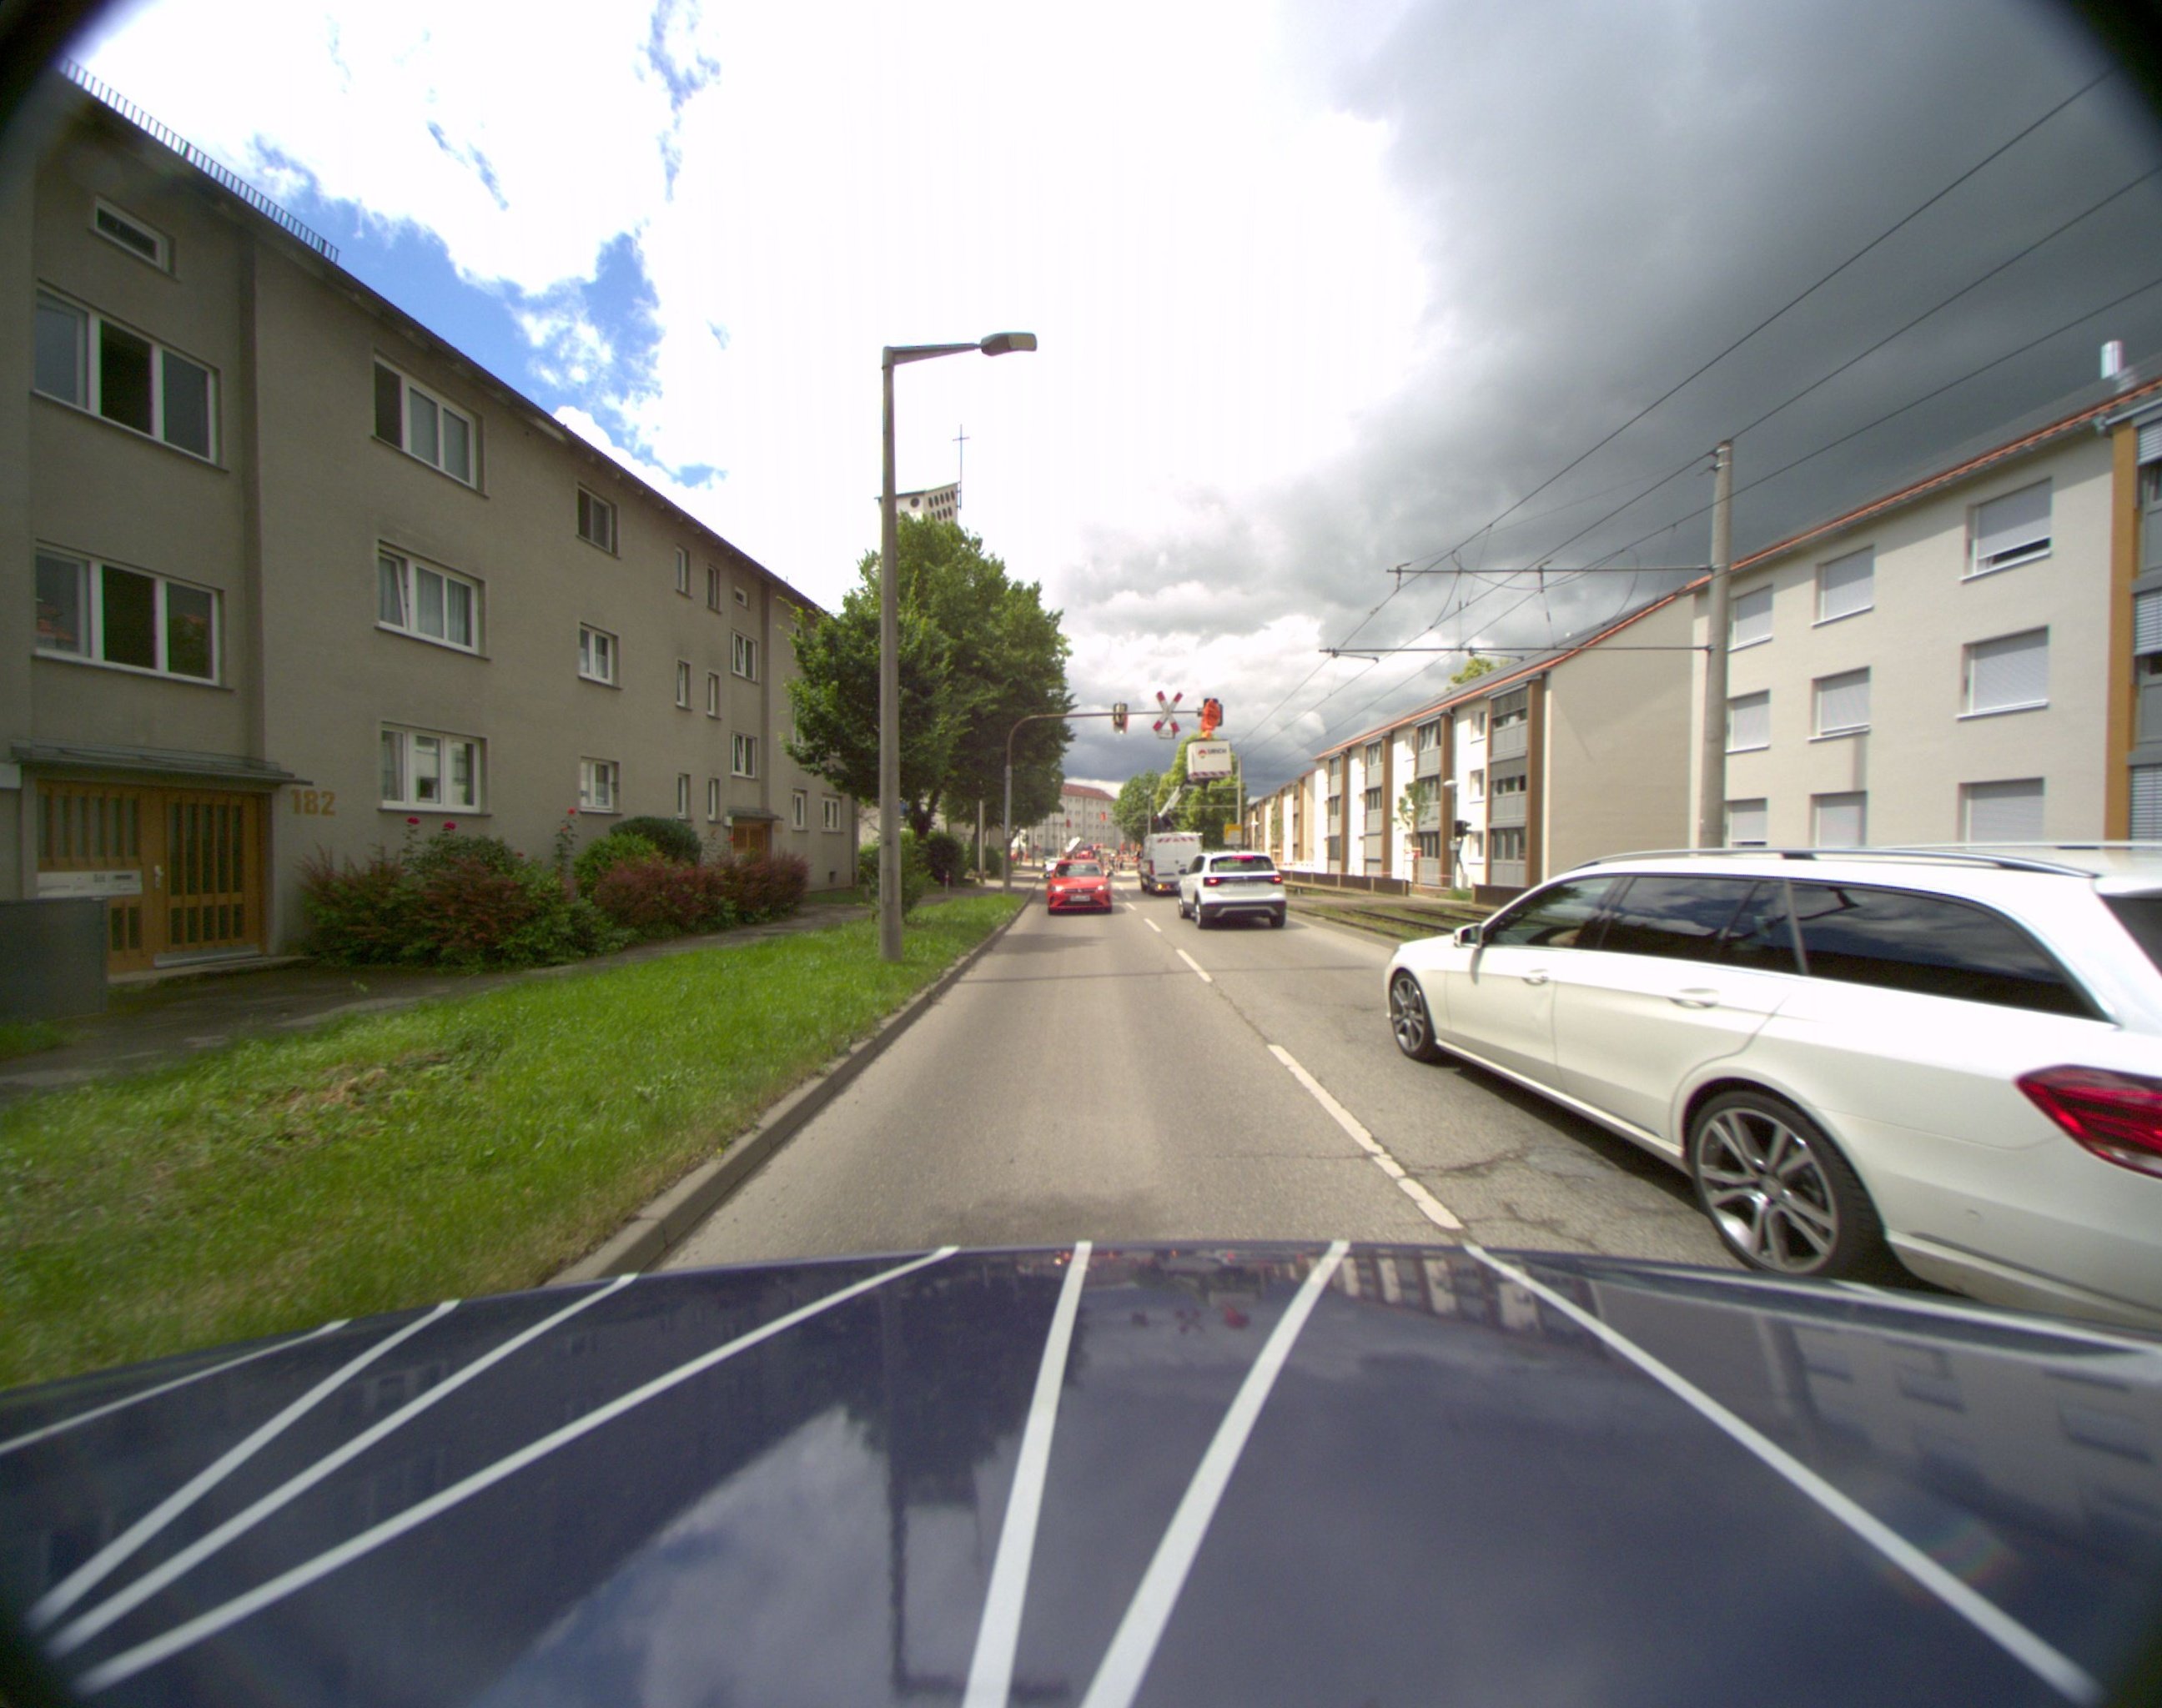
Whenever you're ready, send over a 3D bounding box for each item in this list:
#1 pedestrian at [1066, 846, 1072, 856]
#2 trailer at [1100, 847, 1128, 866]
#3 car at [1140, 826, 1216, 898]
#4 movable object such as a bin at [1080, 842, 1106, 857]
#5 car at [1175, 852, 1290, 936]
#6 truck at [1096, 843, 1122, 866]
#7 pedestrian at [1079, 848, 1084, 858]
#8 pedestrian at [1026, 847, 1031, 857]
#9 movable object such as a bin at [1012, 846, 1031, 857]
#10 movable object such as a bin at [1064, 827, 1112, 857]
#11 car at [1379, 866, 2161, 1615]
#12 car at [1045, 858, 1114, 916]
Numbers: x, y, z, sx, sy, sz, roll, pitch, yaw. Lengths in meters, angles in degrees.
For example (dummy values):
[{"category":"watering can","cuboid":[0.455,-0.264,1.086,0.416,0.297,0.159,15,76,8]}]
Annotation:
[{"category":"pedestrian","cuboid":[-2.291,-0.554,147.190,0.882,1.897,0.665,-1,2,-32]},{"category":"trailer","cuboid":[3.848,0.293,89.210,2.669,2.201,6.246,-1,0,-3]},{"category":"car","cuboid":[3.534,0.267,28.971,1.999,2.416,6.321,-1,0,-1]},{"category":"movable object such as a bin","cuboid":[2.152,-0.796,136.120,2.110,2.653,5.598,1,2,31]},{"category":"car","cuboid":[3.152,0.759,16.511,1.722,1.543,3.917,-1,0,0]},{"category":"truck","cuboid":[3.503,0.059,95.498,2.669,2.709,6.393,-1,0,-3]},{"category":"pedestrian","cuboid":[0.096,-0.111,137.739,0.611,1.778,0.583,-1,0,29]},{"category":"pedestrian","cuboid":[-9.528,-0.328,137.940,0.767,1.828,0.785,1,1,23]},{"category":"movable object such as a bin","cuboid":[-10.840,-0.433,138.453,2.959,2.002,2.004,1,0,35]},{"category":"movable object such as a bin","cuboid":[1.335,-2.167,141.292,9.054,5.453,2.813,1,0,-36]},{"category":"car","cuboid":[3.210,0.848,3.493,1.884,1.472,4.528,-1,0,0]},{"category":"car","cuboid":[-0.033,0.888,22.109,1.769,1.425,3.838,-2,0,0]}]
